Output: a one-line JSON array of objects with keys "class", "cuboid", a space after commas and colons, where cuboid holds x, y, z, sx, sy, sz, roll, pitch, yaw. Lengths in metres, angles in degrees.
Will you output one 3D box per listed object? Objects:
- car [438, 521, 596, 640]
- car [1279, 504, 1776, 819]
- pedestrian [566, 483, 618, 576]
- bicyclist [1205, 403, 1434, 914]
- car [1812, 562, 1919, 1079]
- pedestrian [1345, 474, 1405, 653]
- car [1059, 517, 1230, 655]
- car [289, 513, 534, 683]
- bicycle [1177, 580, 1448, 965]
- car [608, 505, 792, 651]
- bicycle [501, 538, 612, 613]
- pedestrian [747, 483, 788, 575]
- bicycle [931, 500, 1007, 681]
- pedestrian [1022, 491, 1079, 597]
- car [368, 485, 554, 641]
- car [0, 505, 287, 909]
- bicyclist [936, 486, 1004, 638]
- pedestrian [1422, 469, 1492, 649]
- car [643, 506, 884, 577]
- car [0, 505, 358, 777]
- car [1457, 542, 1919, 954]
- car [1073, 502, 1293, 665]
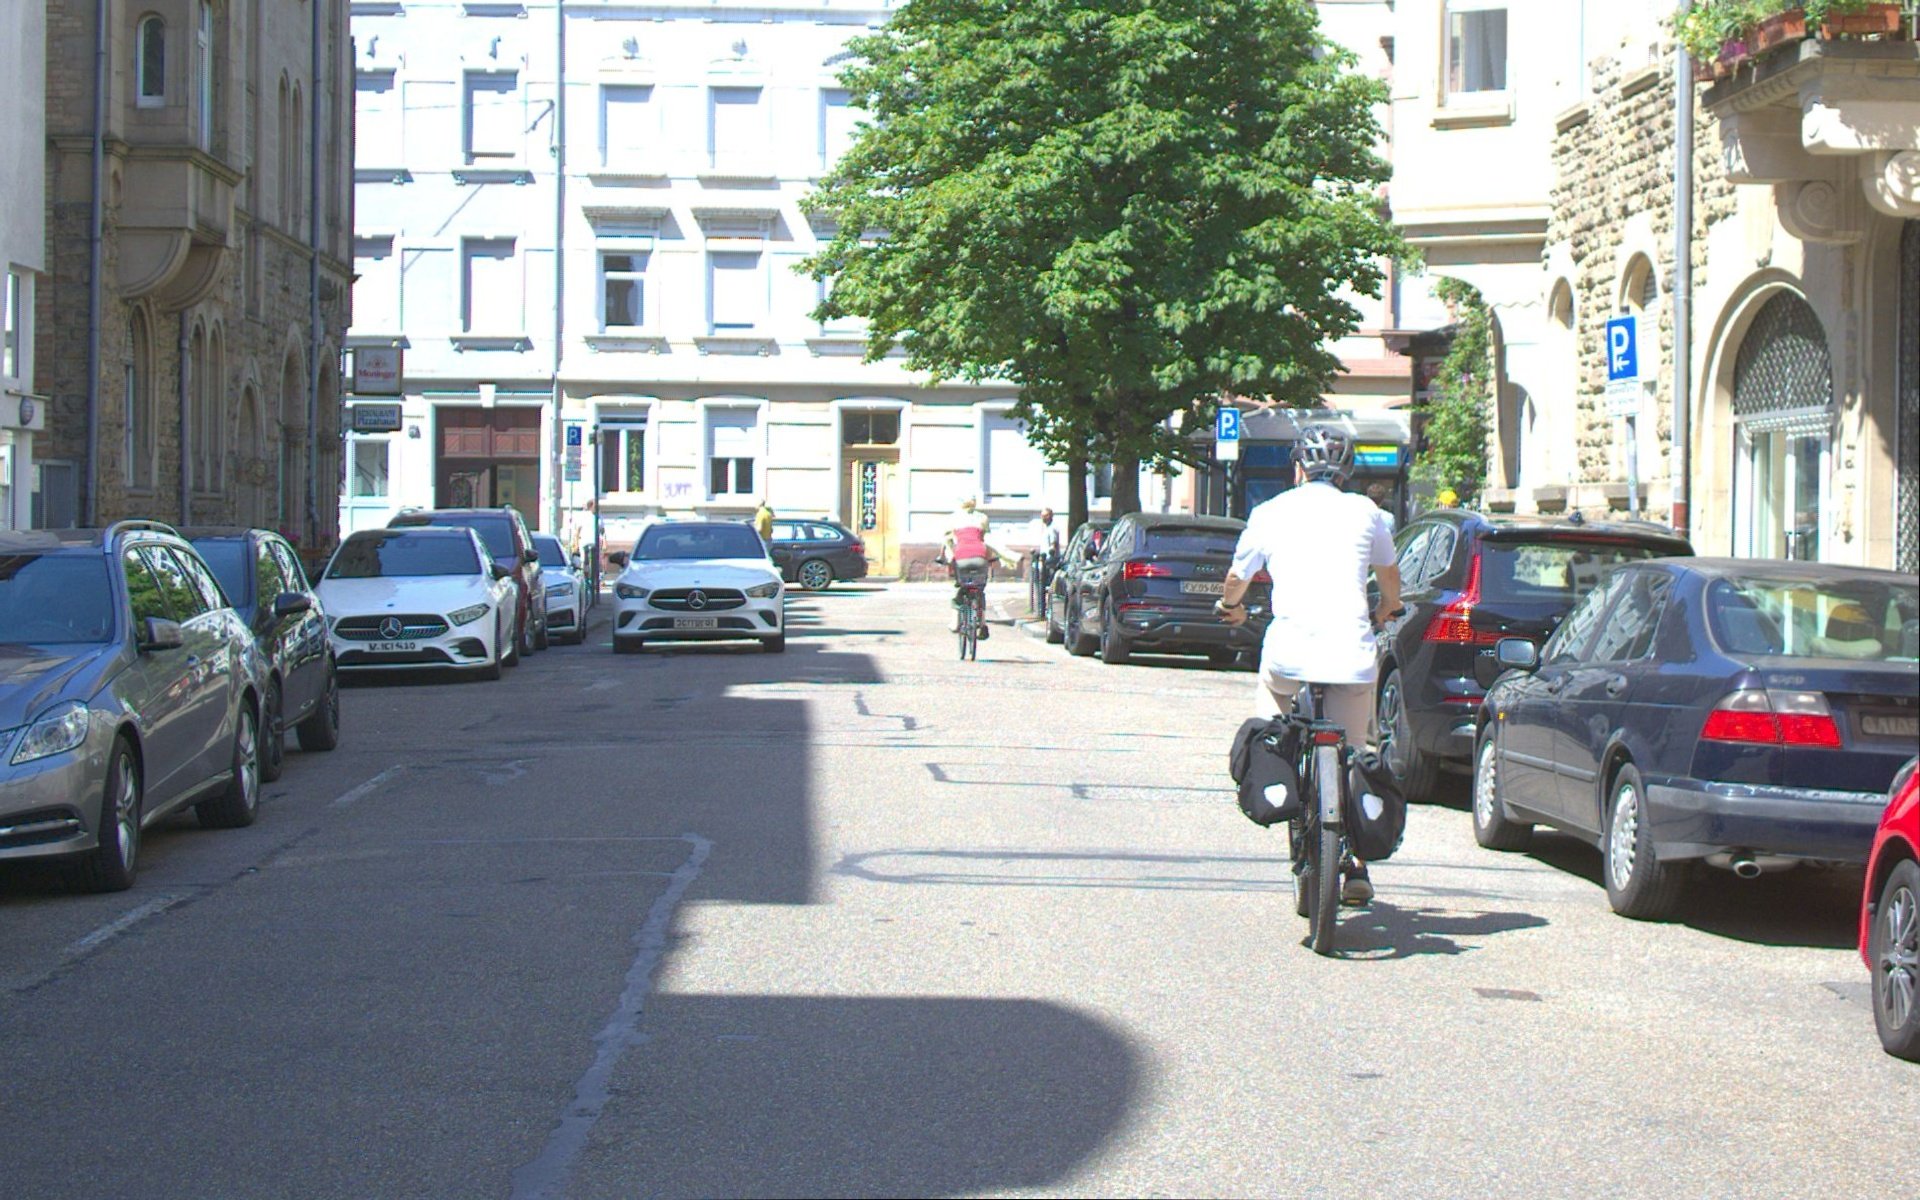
[{"class": "car", "cuboid": [-5.448, -0.275, 42.690, 1.701, 1.348, 4.516, -2, 1, -5]}, {"class": "car", "cuboid": [3.160, 0.262, 20.128, 1.833, 1.561, 4.606, 3, 1, -3]}, {"class": "pedestrian", "cuboid": [-7.494, -1.429, 69.984, 0.850, 1.882, 0.935, 0, 1, 8]}, {"class": "bicyclist", "cuboid": [1.272, 0.197, 12.273, 0.670, 1.754, 0.609, 2, 1, -1]}, {"class": "car", "cuboid": [3.555, 0.687, 8.881, 1.570, 1.447, 3.843, 3, 1, -2]}, {"class": "pedestrian", "cuboid": [4.367, -0.390, 36.221, 0.518, 1.862, 0.654, 1, 1, -1]}, {"class": "car", "cuboid": [2.217, -0.215, 42.255, 1.663, 1.535, 4.178, 3, 1, -2]}, {"class": "car", "cuboid": [-5.109, -0.067, 32.508, 1.776, 1.455, 4.280, -2, 1, -2]}, {"class": "bicycle", "cuboid": [1.252, 0.570, 12.690, 0.652, 1.224, 2.442, 2, 1, -1]}, {"class": "car", "cuboid": [-2.798, -0.281, 37.807, 1.841, 1.456, 4.363, -2, 1, -2]}, {"class": "bicycle", "cuboid": [-5.795, -0.357, 49.386, 1.524, 1.004, 0.367, 3, 1, -6]}, {"class": "pedestrian", "cuboid": [-3.873, -1.429, 69.164, 0.724, 1.847, 0.685, 0, 1, -12]}, {"class": "bicycle", "cuboid": [0.080, -0.119, 34.757, 0.652, 1.738, 2.442, 2, 1, -1]}, {"class": "pedestrian", "cuboid": [1.432, -0.887, 54.324, 0.857, 1.666, 0.774, 0, 1, -2]}, {"class": "car", "cuboid": [-5.406, -0.430, 37.666, 1.672, 1.577, 4.053, -2, 1, -4]}, {"class": "car", "cuboid": [-4.197, 0.368, 15.244, 1.656, 1.513, 4.672, -2, 1, -2]}, {"class": "bicyclist", "cuboid": [0.099, -0.387, 34.732, 0.670, 1.527, 0.609, 0, 1, -1]}, {"class": "pedestrian", "cuboid": [5.238, -0.438, 36.263, 0.599, 1.873, 0.883, 1, 1, 0]}, {"class": "car", "cuboid": [-4.014, -1.206, 70.514, 4.859, 1.432, 2.000, 0, 1, -2]}, {"class": "car", "cuboid": [-4.793, 0.184, 21.280, 1.567, 1.486, 3.894, -2, 1, -2]}, {"class": "car", "cuboid": [3.308, 0.529, 14.422, 1.512, 1.394, 3.973, 4, 1, -4]}, {"class": "car", "cuboid": [2.354, -0.222, 37.341, 1.735, 1.591, 4.349, 3, 1, -4]}]
